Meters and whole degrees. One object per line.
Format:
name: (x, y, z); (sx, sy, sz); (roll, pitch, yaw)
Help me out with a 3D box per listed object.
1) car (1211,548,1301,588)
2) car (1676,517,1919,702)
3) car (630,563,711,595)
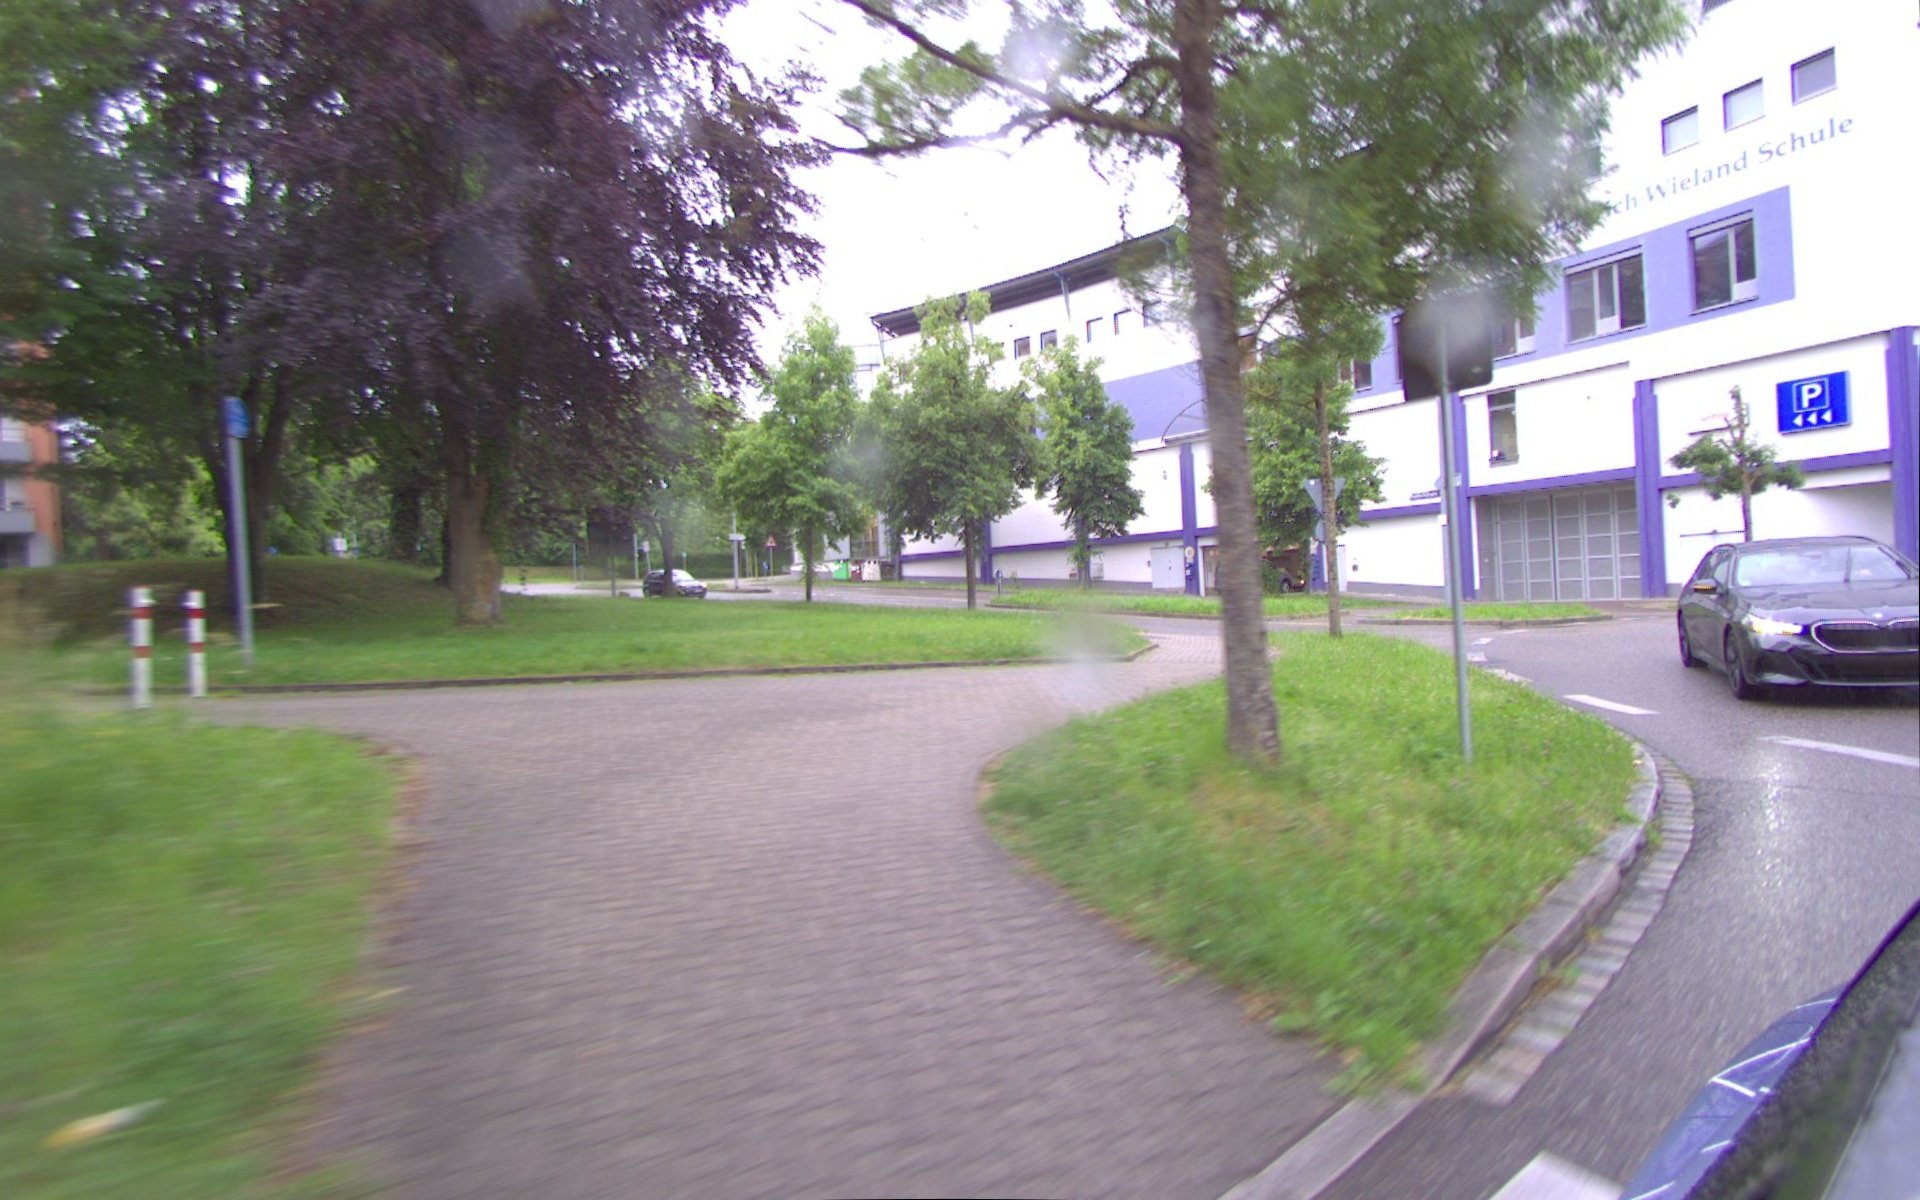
car: (14.104, -1.539, 48.254); (3.711, 1.823, 1.929); (-1, 2, -23)
car: (8.955, -0.013, 10.503); (1.828, 1.513, 4.854); (-4, 0, 29)
car: (-14.384, -1.067, 50.320); (3.548, 1.458, 1.621); (1, 3, 16)
